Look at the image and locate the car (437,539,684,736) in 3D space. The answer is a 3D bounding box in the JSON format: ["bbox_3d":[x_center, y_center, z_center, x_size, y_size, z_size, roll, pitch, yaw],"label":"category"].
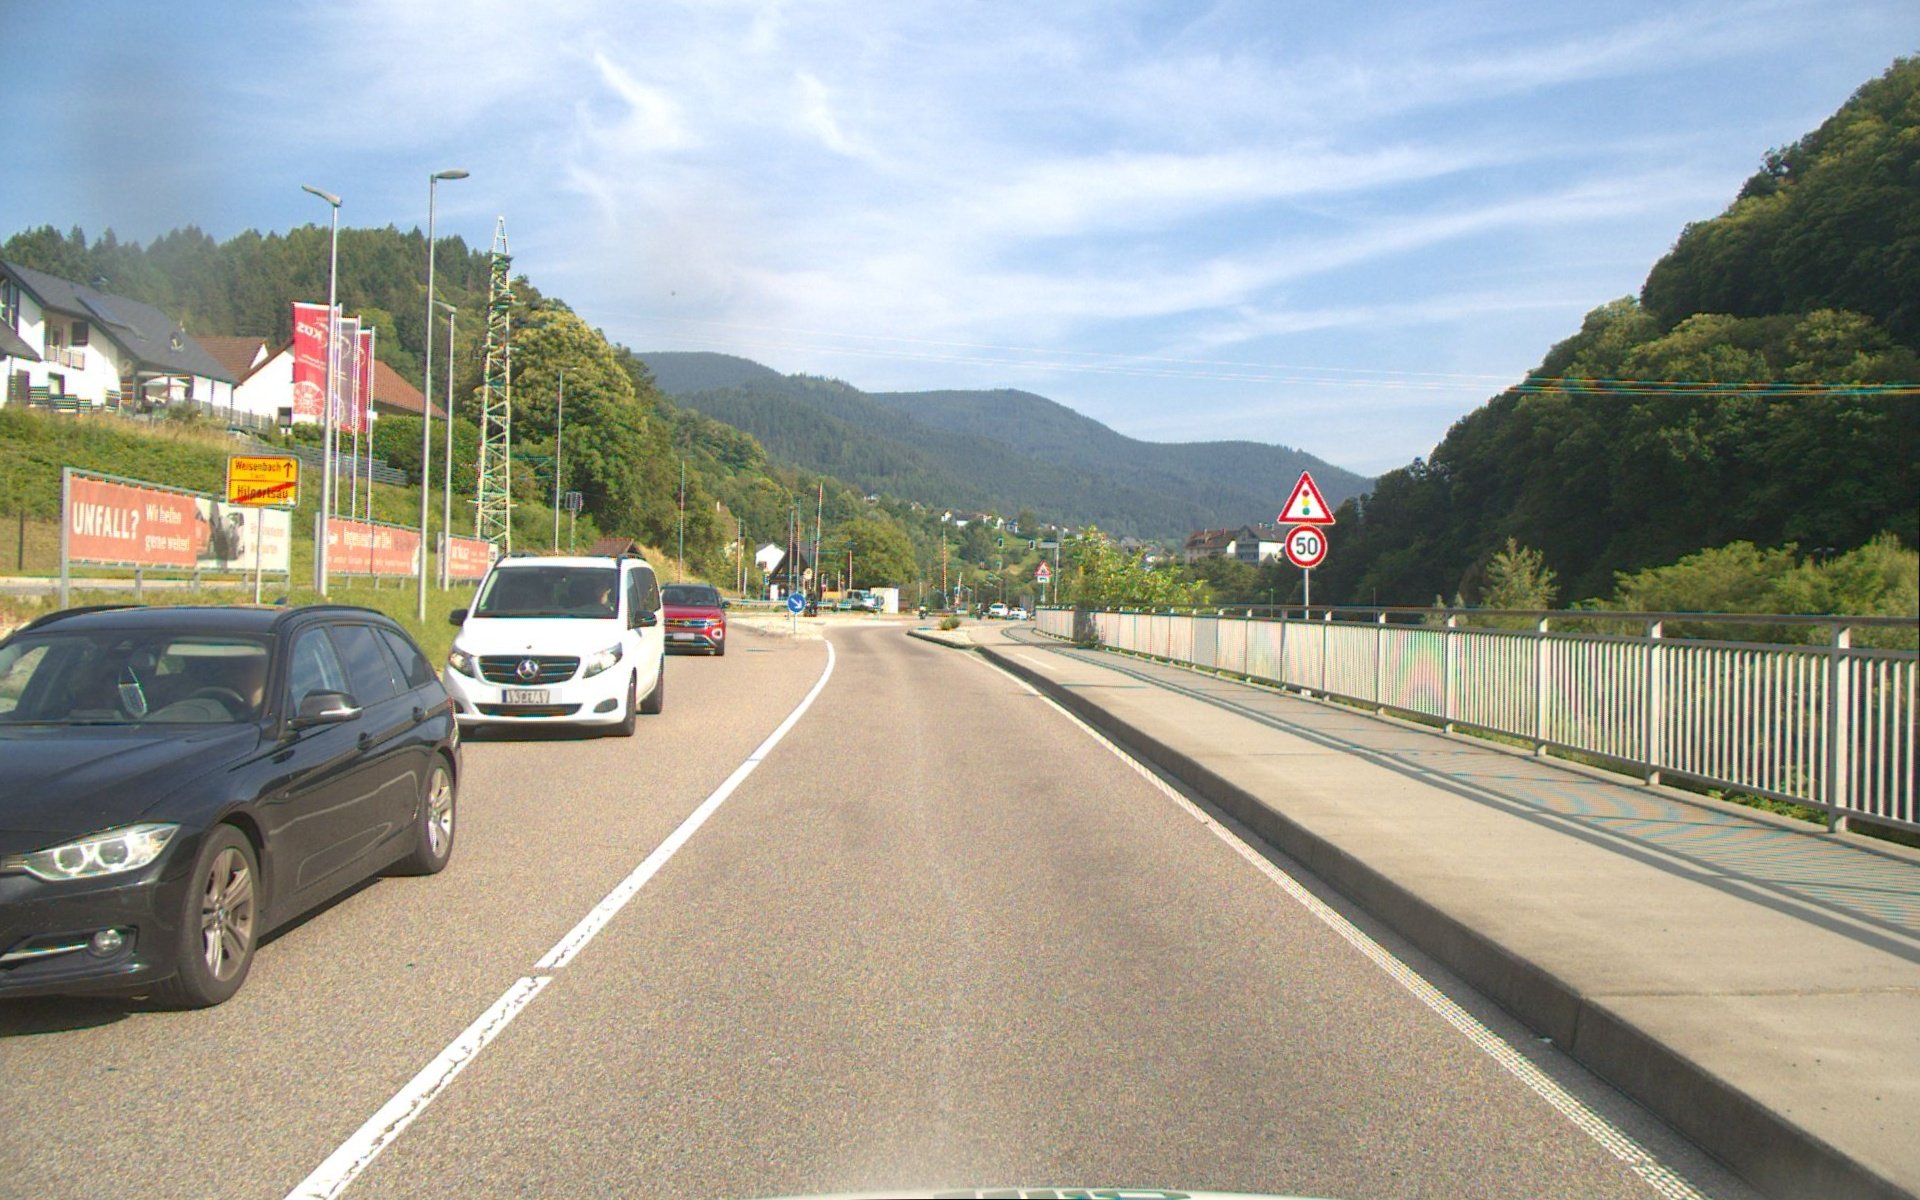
[{"bbox_3d":[-4.344,0.343,18.826,1.859,1.920,5.291,0,0,-4],"label":"car"}]

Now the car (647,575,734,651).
[{"bbox_3d":[-6.133,0.258,37.998,1.673,1.611,4.154,1,0,-6],"label":"car"}]

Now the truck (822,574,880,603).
[{"bbox_3d":[-10.544,-1.113,159.971,5.899,2.305,1.988,5,1,42],"label":"truck"}]

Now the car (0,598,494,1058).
[{"bbox_3d":[-3.472,0.722,7.325,1.737,1.423,4.232,0,0,-2],"label":"car"}]

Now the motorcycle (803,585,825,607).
[{"bbox_3d":[-8.330,-0.225,94.139,0.879,1.204,2.297,2,1,-14],"label":"motorcycle"}]

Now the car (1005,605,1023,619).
[{"bbox_3d":[6.314,1.440,193.663,1.747,1.424,4.825,3,1,-3],"label":"car"}]

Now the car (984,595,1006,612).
[{"bbox_3d":[3.764,0.397,176.690,1.726,1.588,4.002,0,-3,11],"label":"car"}]
